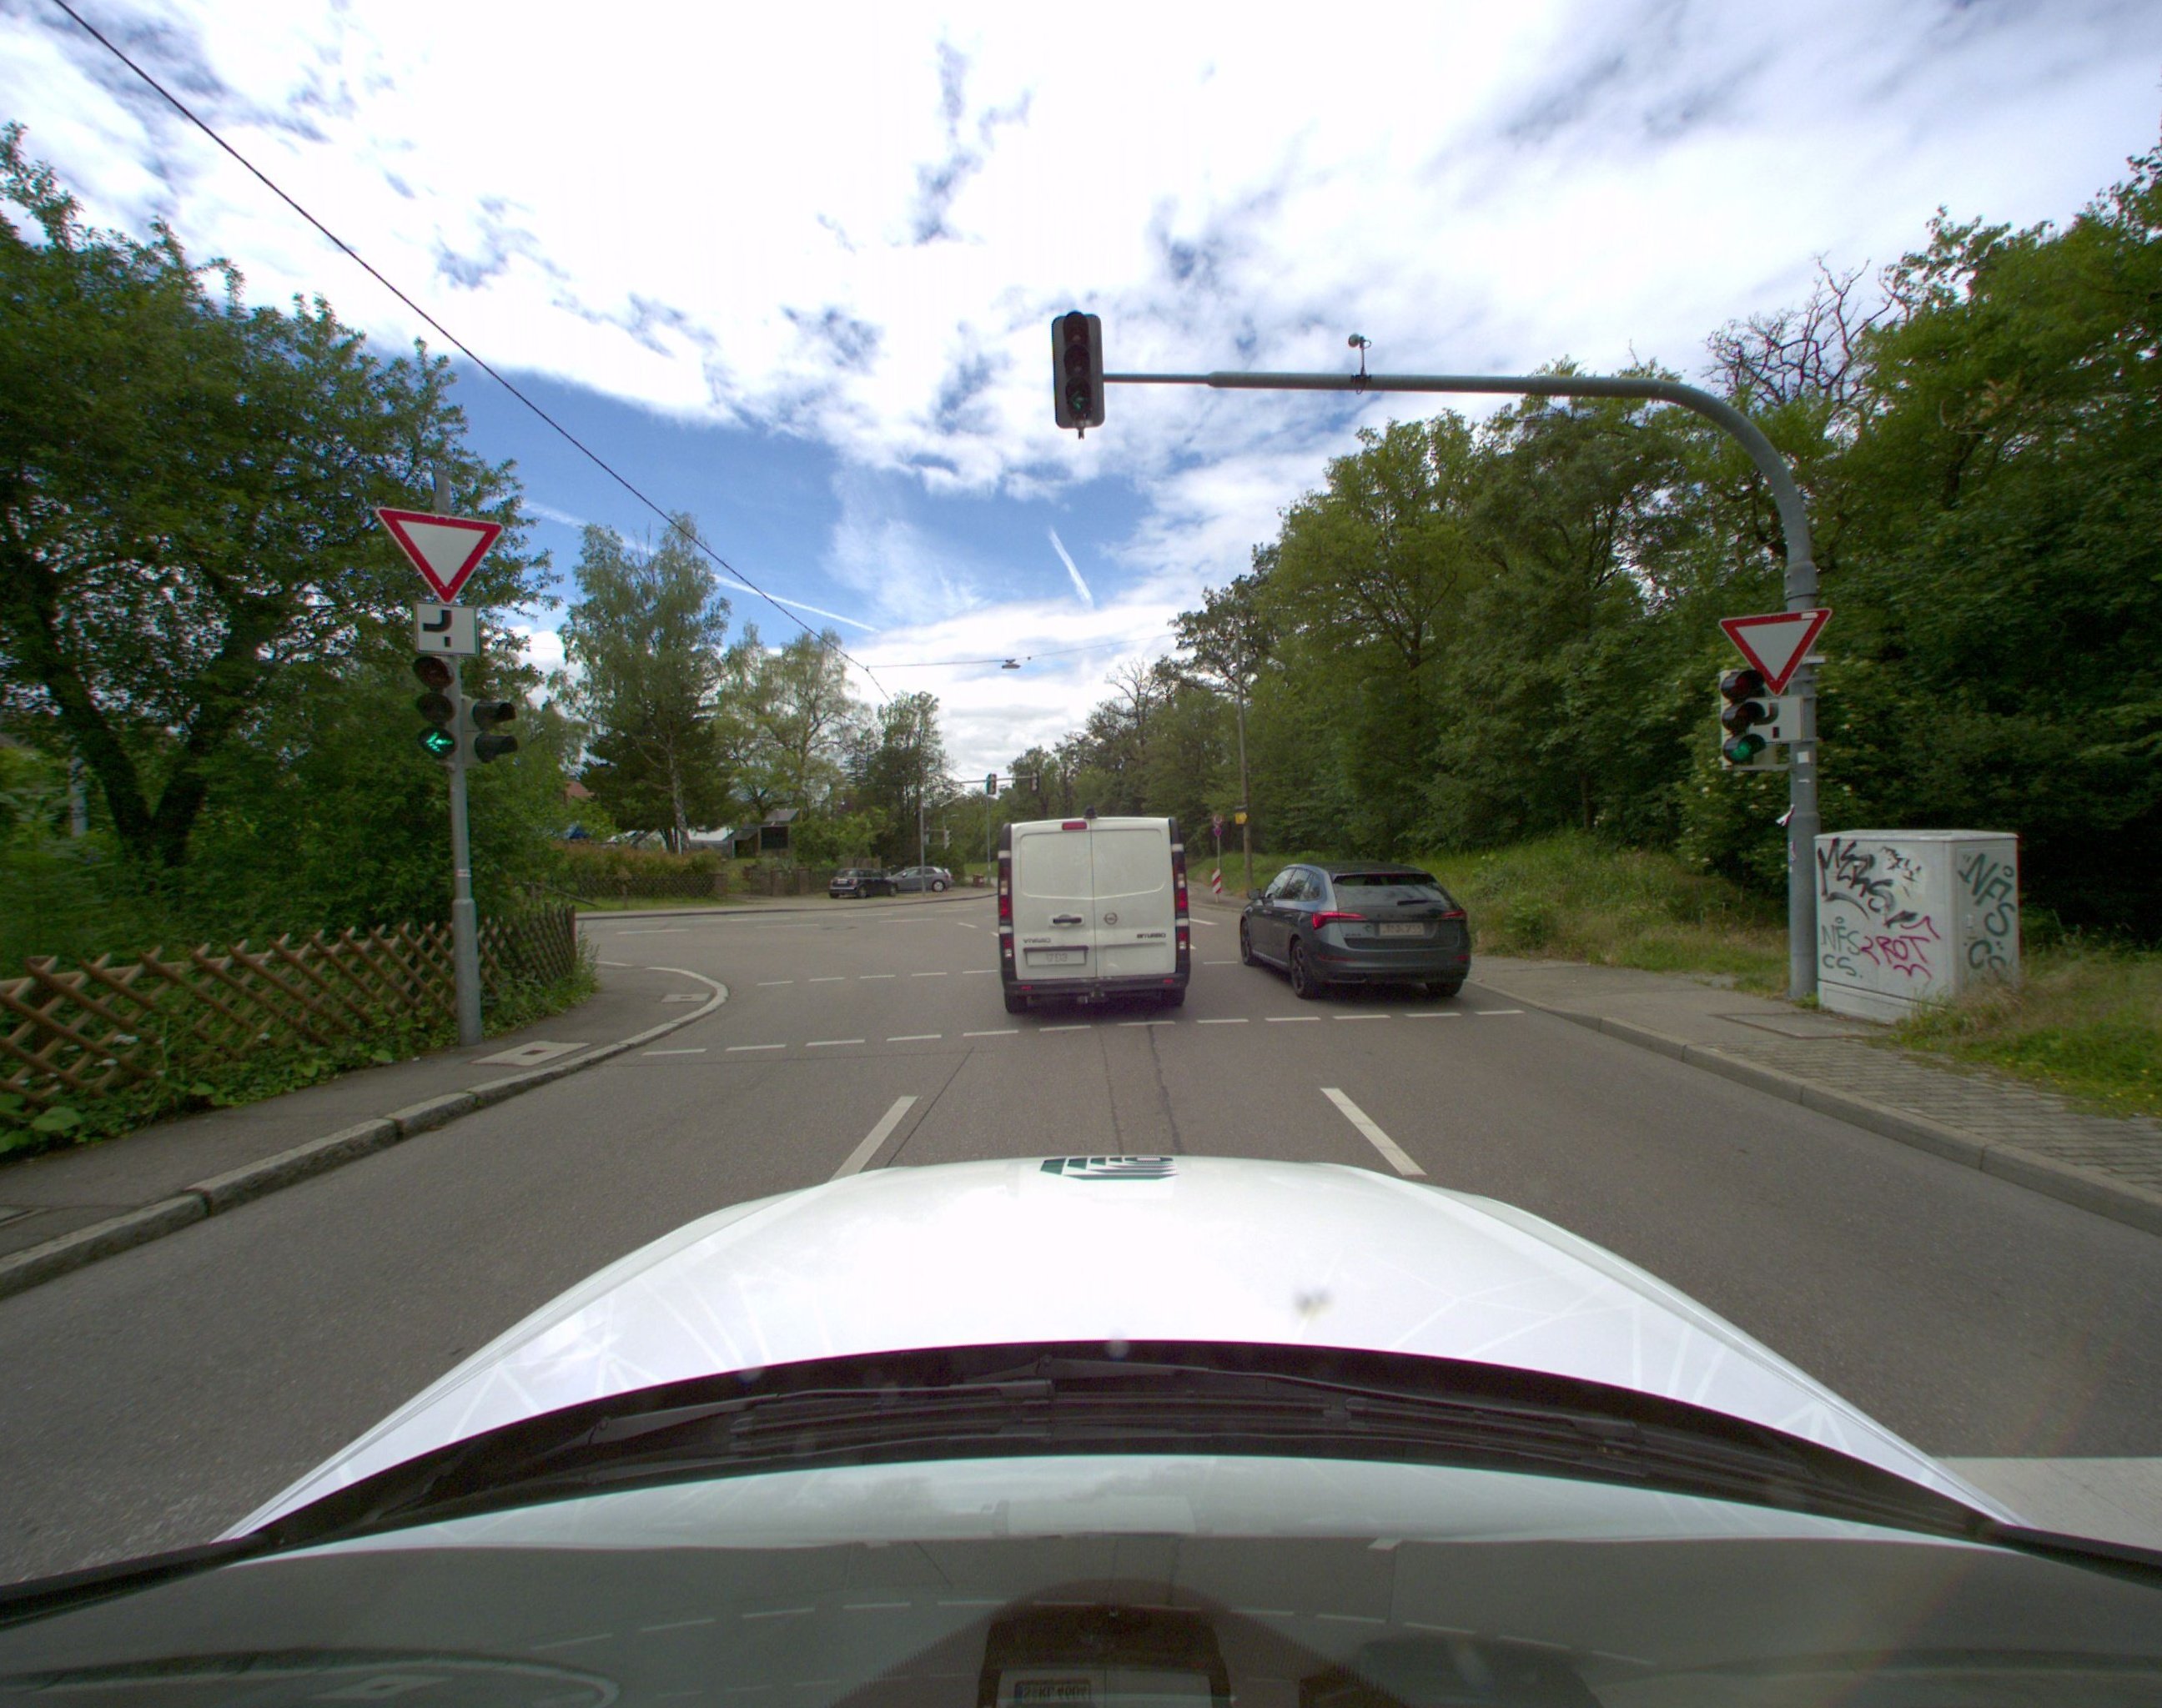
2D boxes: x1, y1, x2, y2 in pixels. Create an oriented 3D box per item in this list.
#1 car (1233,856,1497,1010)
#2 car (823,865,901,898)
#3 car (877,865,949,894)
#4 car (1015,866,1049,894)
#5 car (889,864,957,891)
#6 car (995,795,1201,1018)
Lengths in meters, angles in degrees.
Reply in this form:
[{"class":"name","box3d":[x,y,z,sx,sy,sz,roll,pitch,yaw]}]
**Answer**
[{"class":"car","box3d":[3.146,0.783,9.945,1.787,1.450,3.998,-1,0,-1]},{"class":"car","box3d":[-10.241,1.271,38.274,1.683,1.449,3.562,1,0,22]},{"class":"car","box3d":[-10.003,1.469,48.426,4.093,1.553,1.845,-1,0,-15]},{"class":"car","box3d":[-2.761,1.436,46.580,1.852,1.507,3.996,0,-1,-2]},{"class":"car","box3d":[-10.020,1.489,51.487,4.093,1.553,1.845,-1,0,-15]},{"class":"car","box3d":[0.159,0.499,9.858,1.910,2.053,4.613,0,0,0]}]
